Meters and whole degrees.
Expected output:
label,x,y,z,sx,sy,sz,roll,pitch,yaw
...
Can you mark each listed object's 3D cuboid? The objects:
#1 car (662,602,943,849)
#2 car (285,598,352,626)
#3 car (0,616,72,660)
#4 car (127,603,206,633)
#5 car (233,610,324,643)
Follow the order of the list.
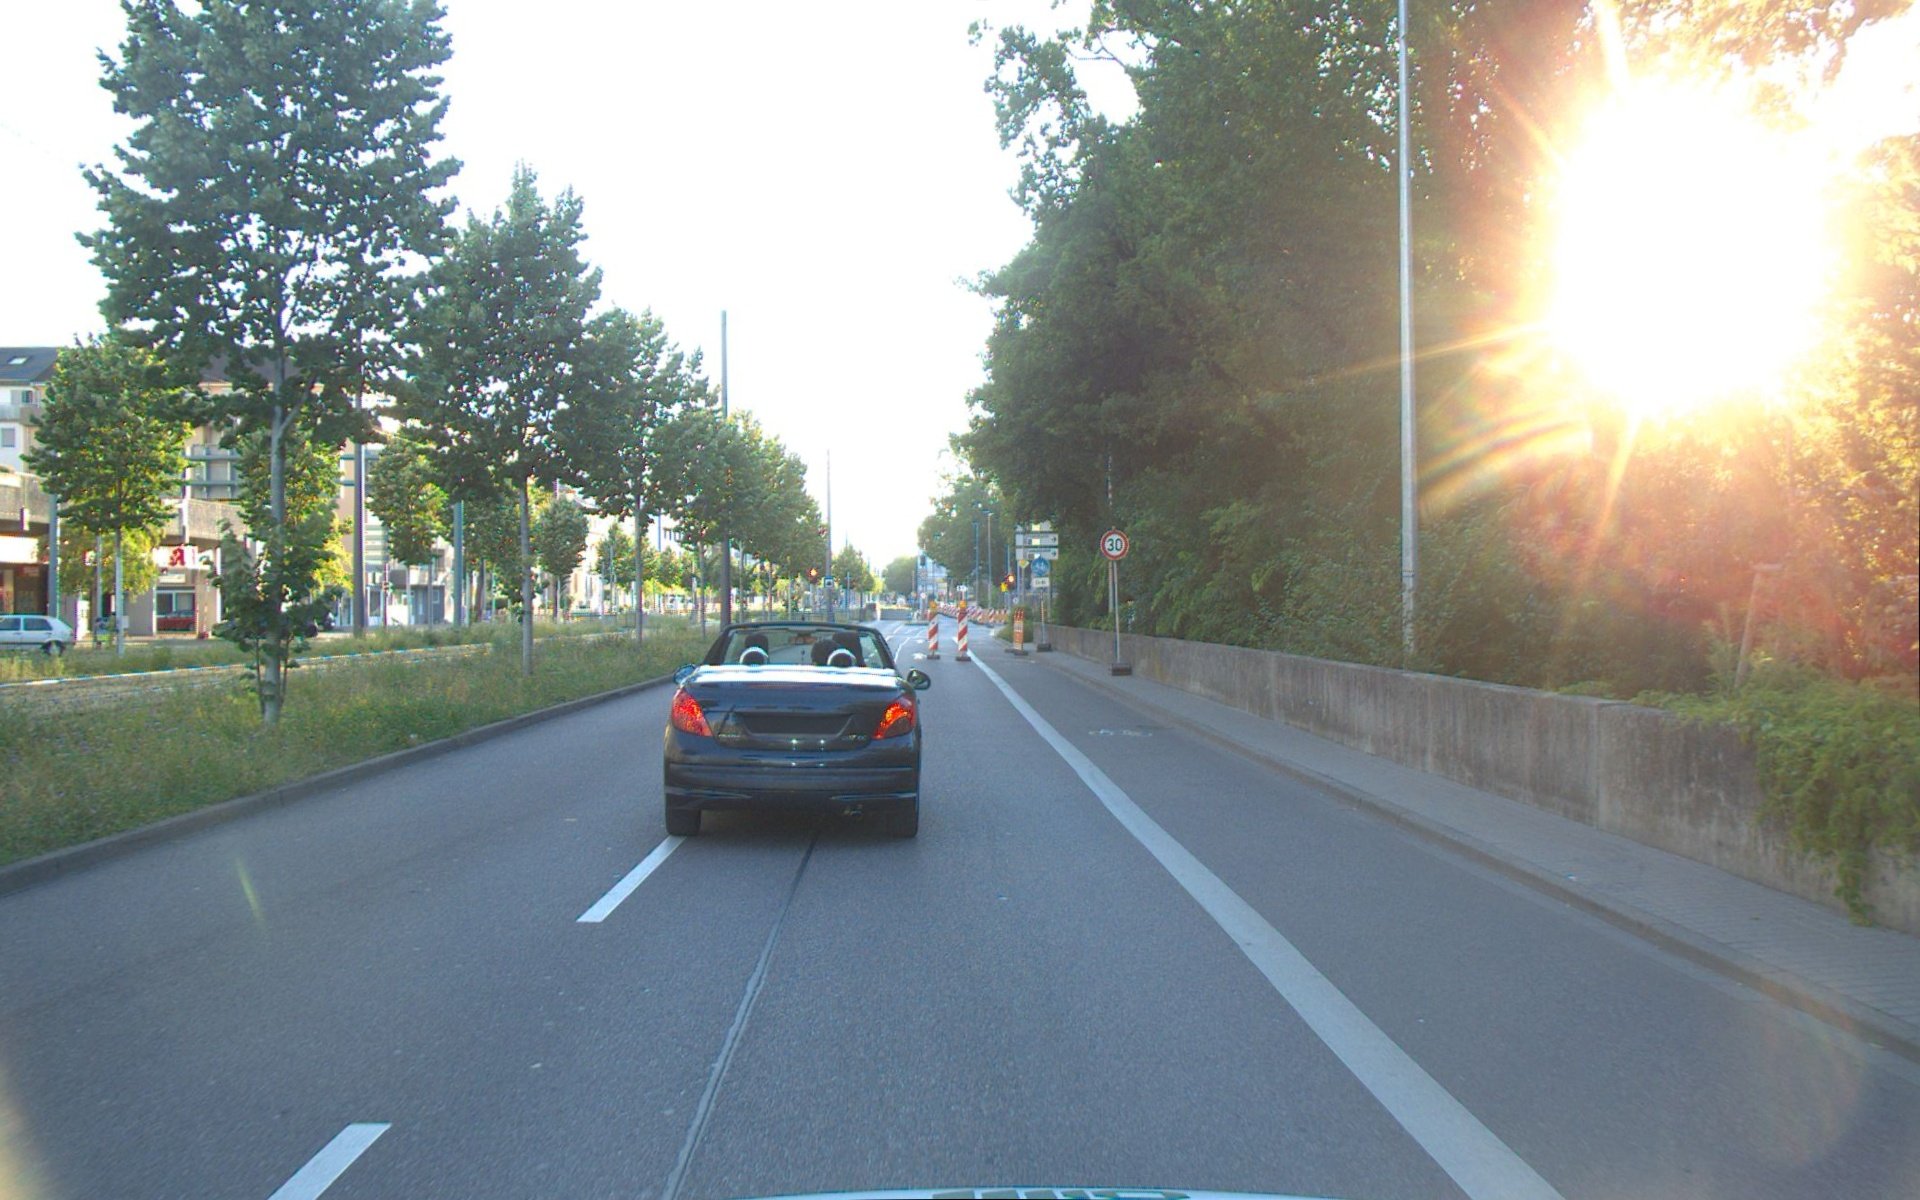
label,x,y,z,sx,sy,sz,roll,pitch,yaw
car,-1.211,0.760,11.966,1.686,1.475,3.894,1,0,-8
car,-44.745,0.830,115.434,3.855,1.878,2.190,-1,0,-3
car,-33.184,1.290,57.146,4.093,1.461,1.799,2,0,-41
car,-54.229,1.224,113.076,4.243,1.800,2.165,-3,1,-4
car,-32.765,1.255,79.524,3.698,1.475,1.717,-1,-1,-42
